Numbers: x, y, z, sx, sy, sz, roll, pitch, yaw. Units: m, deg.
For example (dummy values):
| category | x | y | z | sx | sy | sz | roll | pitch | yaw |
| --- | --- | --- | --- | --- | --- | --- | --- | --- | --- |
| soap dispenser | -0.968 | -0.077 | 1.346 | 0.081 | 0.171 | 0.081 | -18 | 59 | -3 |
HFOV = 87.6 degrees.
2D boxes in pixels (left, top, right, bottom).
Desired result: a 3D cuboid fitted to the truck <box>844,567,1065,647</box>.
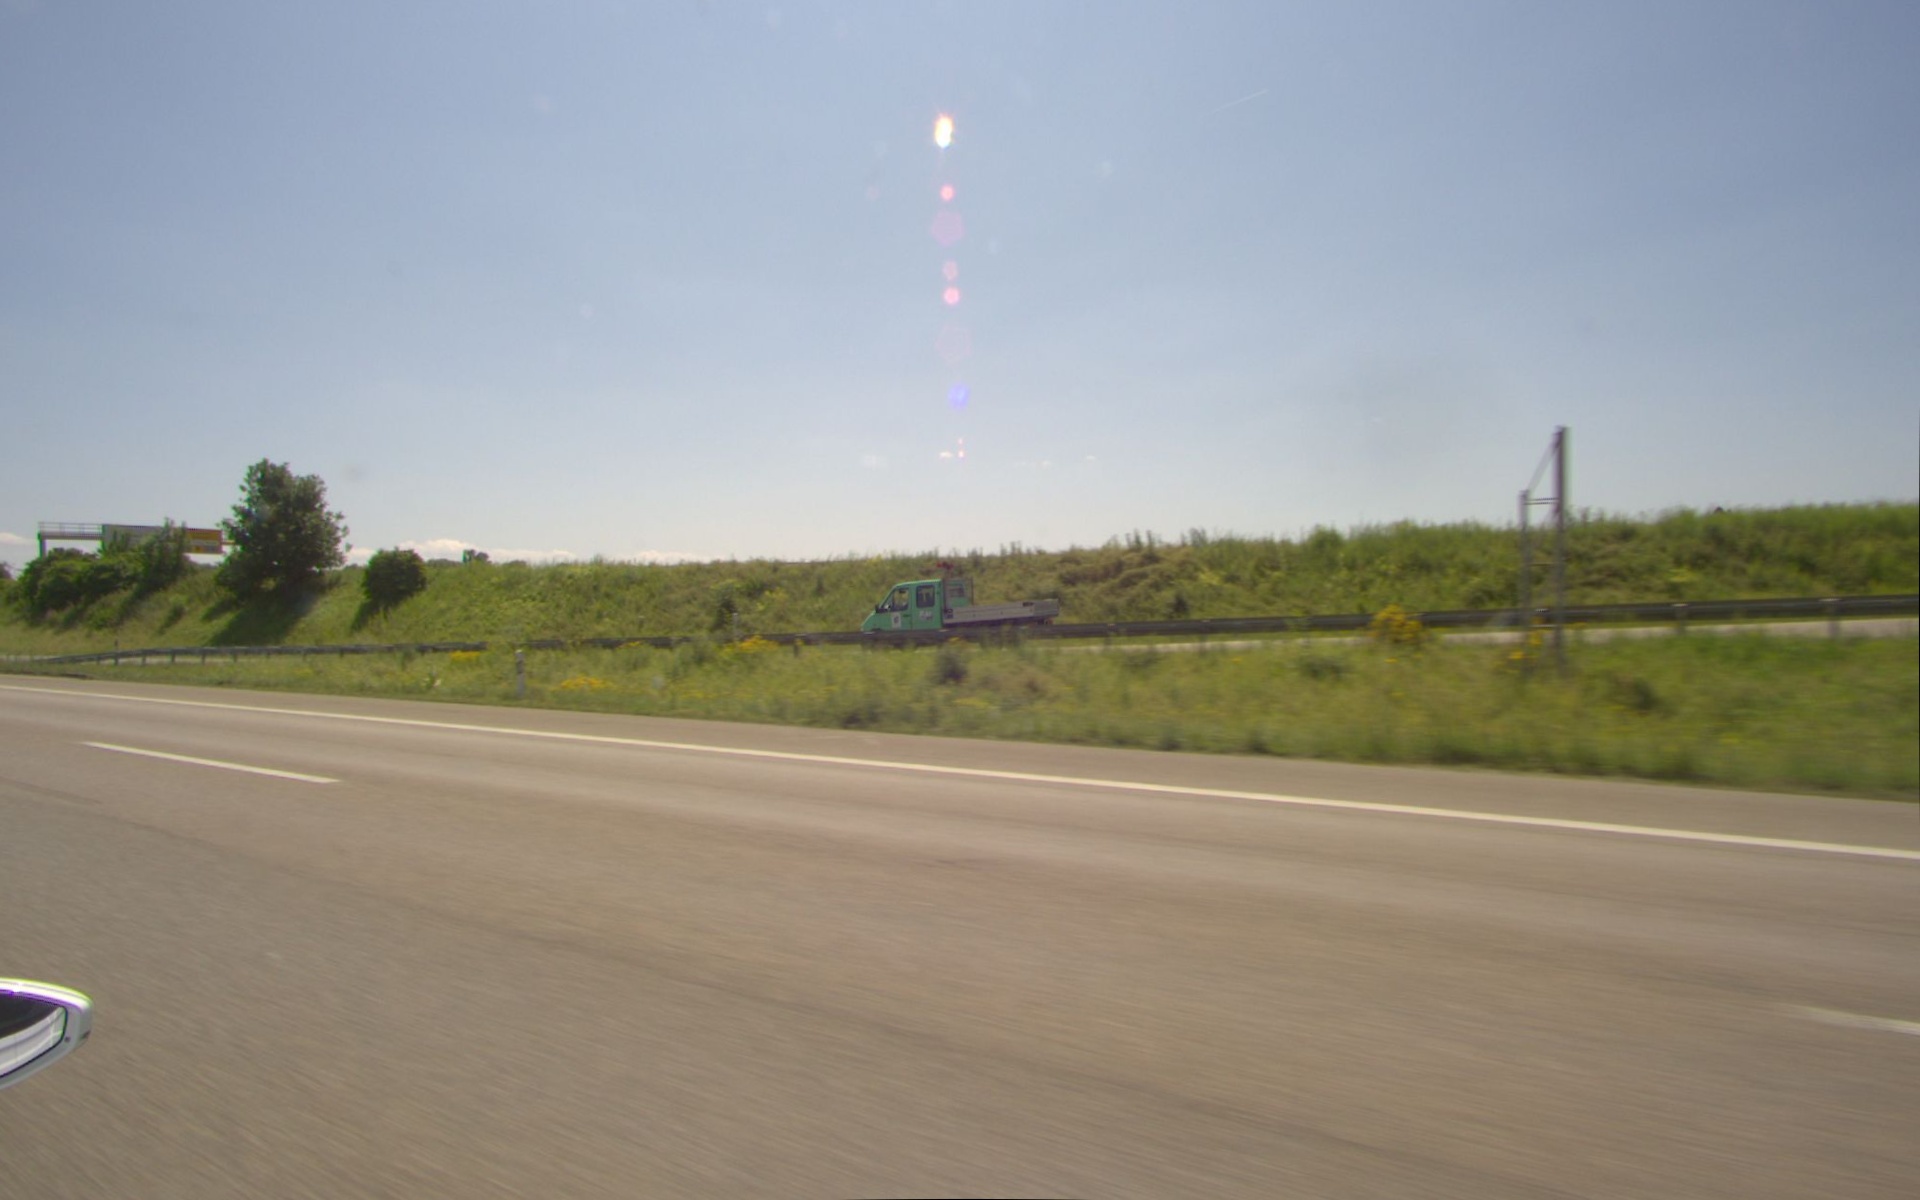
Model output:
| category | x | y | z | sx | sy | sz | roll | pitch | yaw |
| --- | --- | --- | --- | --- | --- | --- | --- | --- | --- |
| truck | -0.207 | 0.241 | 28.721 | 6.021 | 2.119 | 2.164 | -1 | -1 | 27 |
